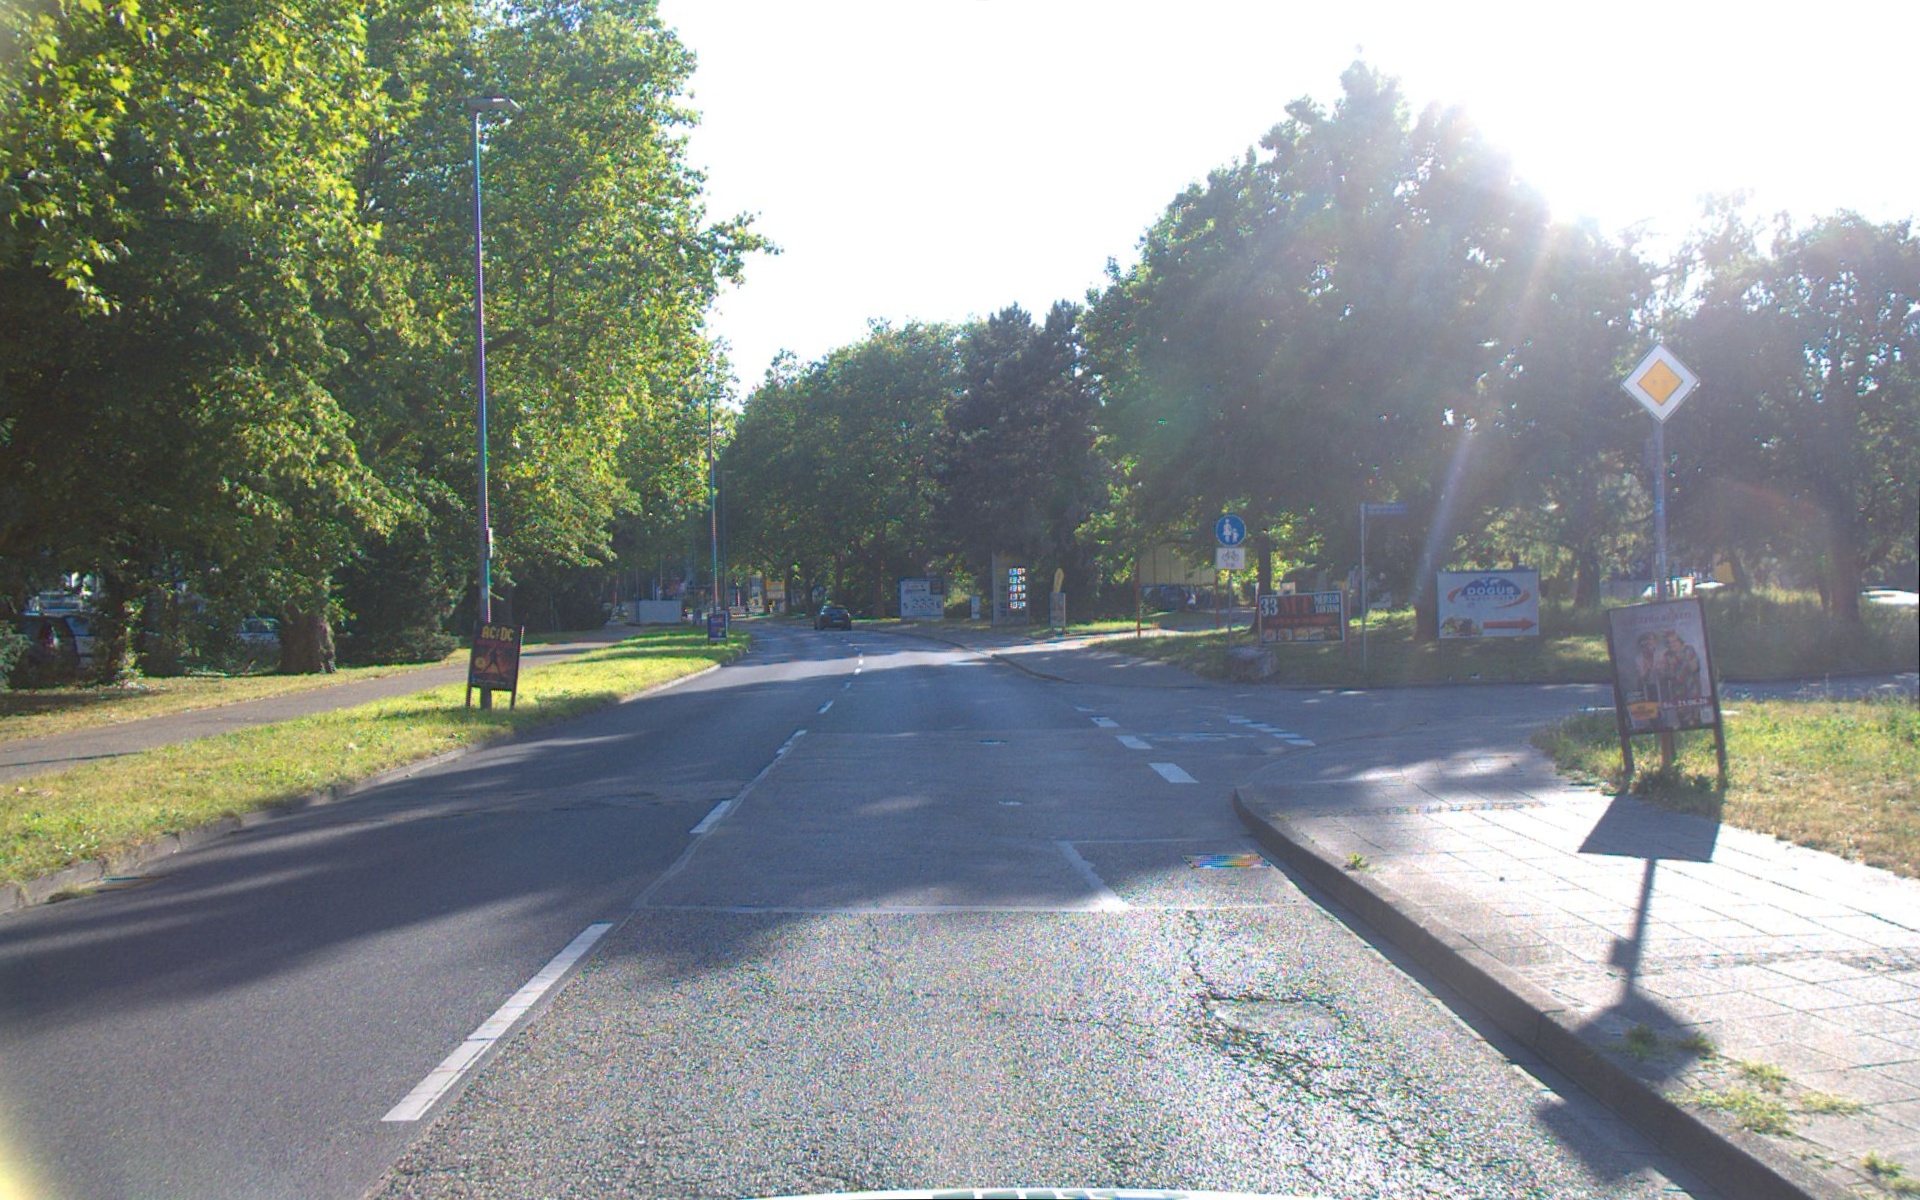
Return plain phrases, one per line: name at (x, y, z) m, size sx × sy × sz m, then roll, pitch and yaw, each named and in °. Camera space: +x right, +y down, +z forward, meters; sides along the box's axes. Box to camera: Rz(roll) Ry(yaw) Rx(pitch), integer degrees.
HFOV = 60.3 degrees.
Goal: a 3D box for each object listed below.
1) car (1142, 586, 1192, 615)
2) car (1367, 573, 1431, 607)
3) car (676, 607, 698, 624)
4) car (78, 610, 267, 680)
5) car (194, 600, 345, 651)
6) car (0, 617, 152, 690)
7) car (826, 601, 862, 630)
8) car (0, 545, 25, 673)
car at (10.954, 0.033, 87.833) m, size 1.805 × 1.445 × 3.996 m, roll -2°, pitch 0°, yaw -5°
car at (23.819, -0.523, 89.847) m, size 1.778 × 1.758 × 4.391 m, roll -2°, pitch 0°, yaw -8°
car at (-35.310, 1.956, 214.124) m, size 1.952 × 2.049 × 4.001 m, roll -1°, pitch 0°, yaw 2°
car at (-20.577, 1.149, 43.376) m, size 4.049 × 1.624 × 1.949 m, roll -2°, pitch 0°, yaw -10°
car at (-21.251, 0.771, 51.020) m, size 3.912 × 1.534 × 1.909 m, roll 0°, pitch 0°, yaw -8°
car at (-20.652, 1.215, 37.591) m, size 3.654 × 1.526 × 1.812 m, roll -2°, pitch 0°, yaw -6°
car at (-6.649, 0.870, 94.919) m, size 1.802 × 1.633 × 3.862 m, roll -1°, pitch 0°, yaw -1°
car at (-21.754, 0.315, 32.501) m, size 5.325 × 2.545 × 2.184 m, roll -3°, pitch 0°, yaw -5°
